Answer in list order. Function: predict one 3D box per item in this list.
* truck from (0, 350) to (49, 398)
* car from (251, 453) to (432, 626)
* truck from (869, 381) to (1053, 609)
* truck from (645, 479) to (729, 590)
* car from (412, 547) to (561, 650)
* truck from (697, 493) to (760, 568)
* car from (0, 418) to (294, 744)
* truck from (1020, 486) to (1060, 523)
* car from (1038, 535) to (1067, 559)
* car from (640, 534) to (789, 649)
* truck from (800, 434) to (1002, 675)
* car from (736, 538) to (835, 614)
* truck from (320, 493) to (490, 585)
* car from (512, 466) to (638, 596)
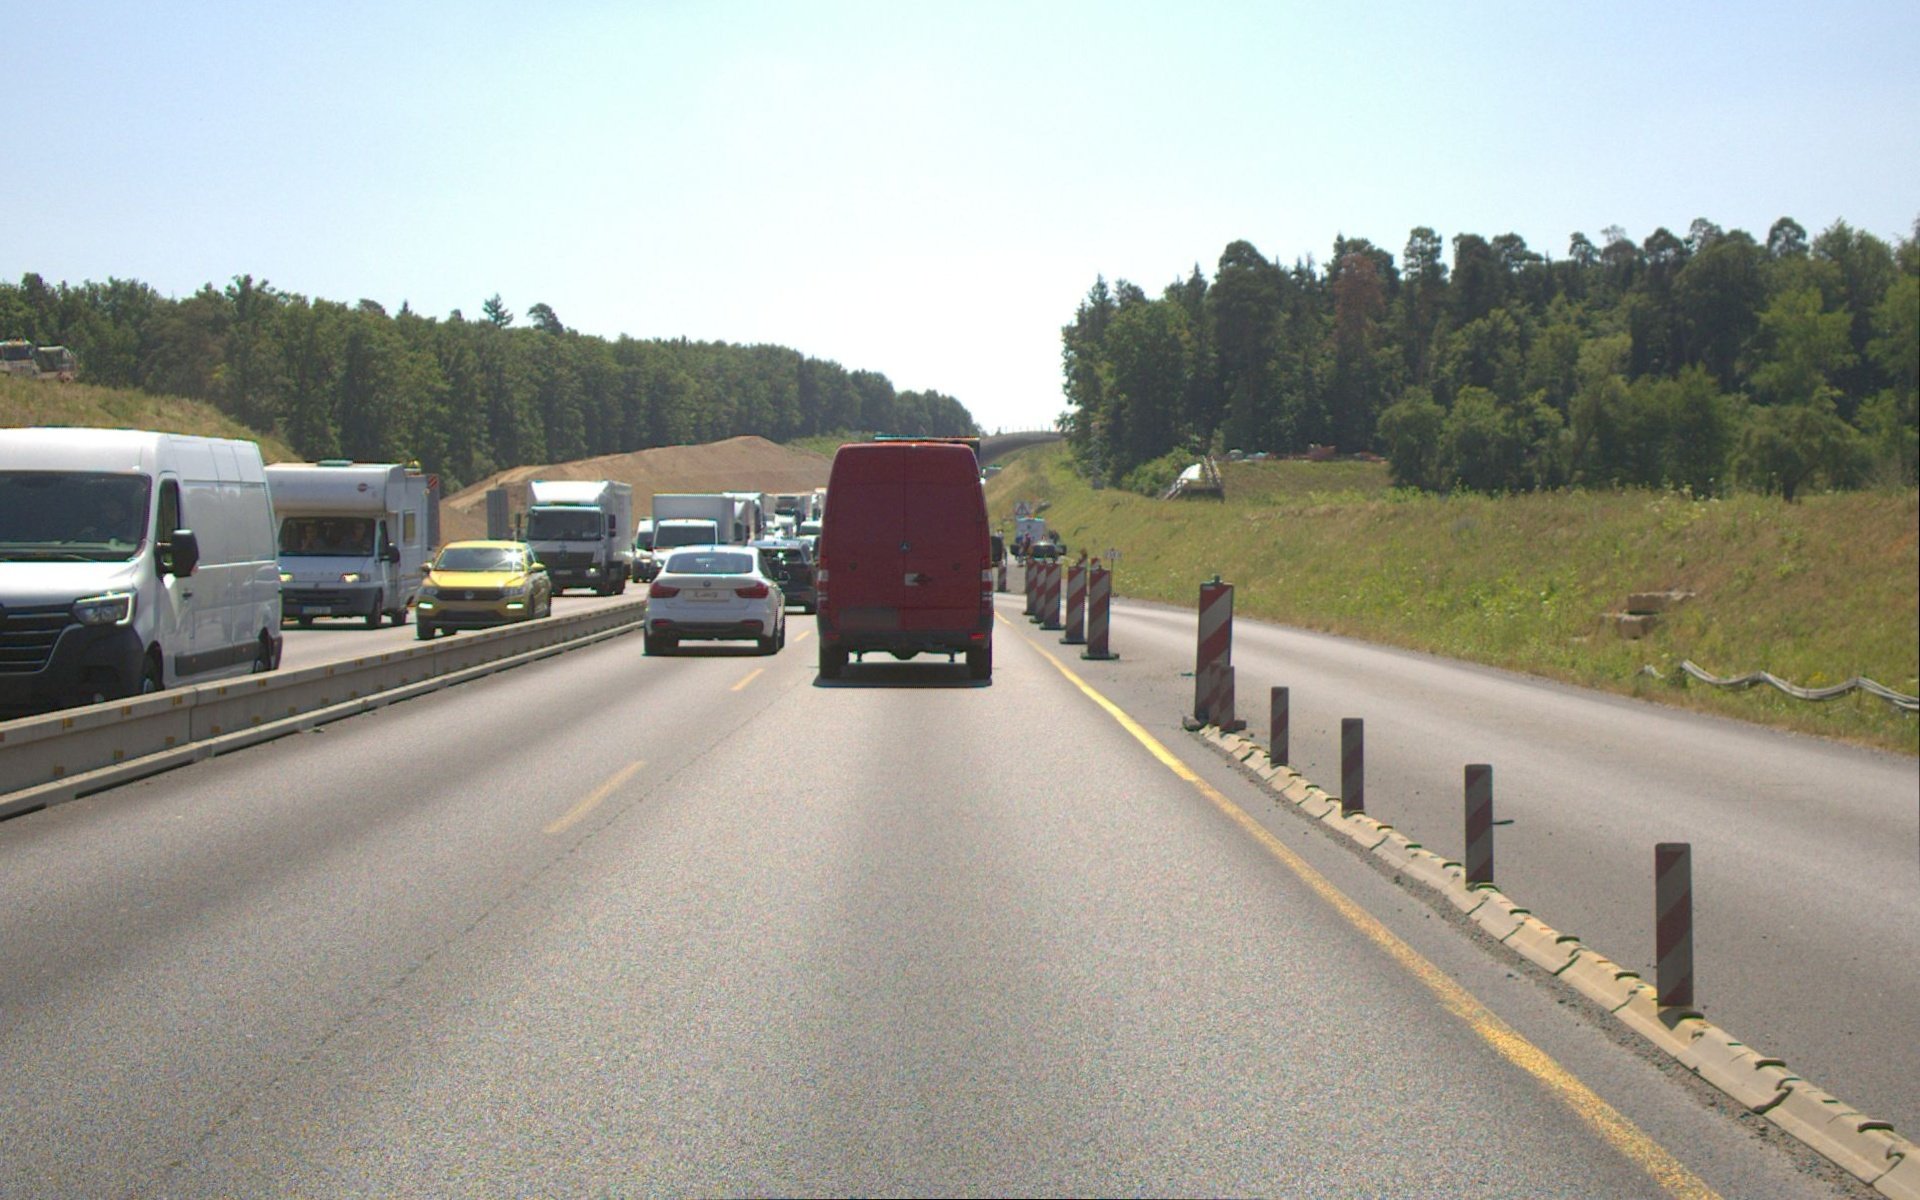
[{"bbox_3d":[-65.850,-15.645,238.210,2.354,2.888,8.366,1,1,-36],"label":"truck"},{"bbox_3d":[-11.130,-1.073,62.291,2.251,2.945,5.849,1,1,-1],"label":"car"},{"bbox_3d":[-0.061,-2.636,91.755,4.400,5.477,16.604,1,1,-1],"label":"truck"},{"bbox_3d":[-8.045,-1.904,101.926,2.271,3.139,7.315,1,1,-3],"label":"truck"},{"bbox_3d":[-7.581,-0.058,55.365,1.762,1.568,4.362,1,1,0],"label":"car"},{"bbox_3d":[-11.806,-3.524,175.867,2.644,3.703,9.483,1,1,-1],"label":"truck"},{"bbox_3d":[-7.010,-0.231,27.913,2.035,2.335,6.196,1,2,-1],"label":"car"},{"bbox_3d":[5.464,-6.498,233.996,2.130,2.448,5.924,1,2,6],"label":"truck"},{"bbox_3d":[5.783,-3.350,216.090,1.654,1.422,4.545,-2,2,0],"label":"car"},{"bbox_3d":[-3.395,-0.136,48.185,1.831,1.517,3.961,1,1,-1],"label":"car"},{"bbox_3d":[-0.662,-0.521,39.918,2.153,2.581,5.333,1,1,-1],"label":"truck"},{"bbox_3d":[-3.775,-0.540,75.026,1.967,1.536,4.311,1,2,-1],"label":"car"},{"bbox_3d":[-18.879,-2.042,117.060,5.045,2.954,2.587,2,0,-31],"label":"truck"},{"bbox_3d":[-11.493,-2.089,103.227,2.908,3.727,8.091,1,1,-1],"label":"car"}]
